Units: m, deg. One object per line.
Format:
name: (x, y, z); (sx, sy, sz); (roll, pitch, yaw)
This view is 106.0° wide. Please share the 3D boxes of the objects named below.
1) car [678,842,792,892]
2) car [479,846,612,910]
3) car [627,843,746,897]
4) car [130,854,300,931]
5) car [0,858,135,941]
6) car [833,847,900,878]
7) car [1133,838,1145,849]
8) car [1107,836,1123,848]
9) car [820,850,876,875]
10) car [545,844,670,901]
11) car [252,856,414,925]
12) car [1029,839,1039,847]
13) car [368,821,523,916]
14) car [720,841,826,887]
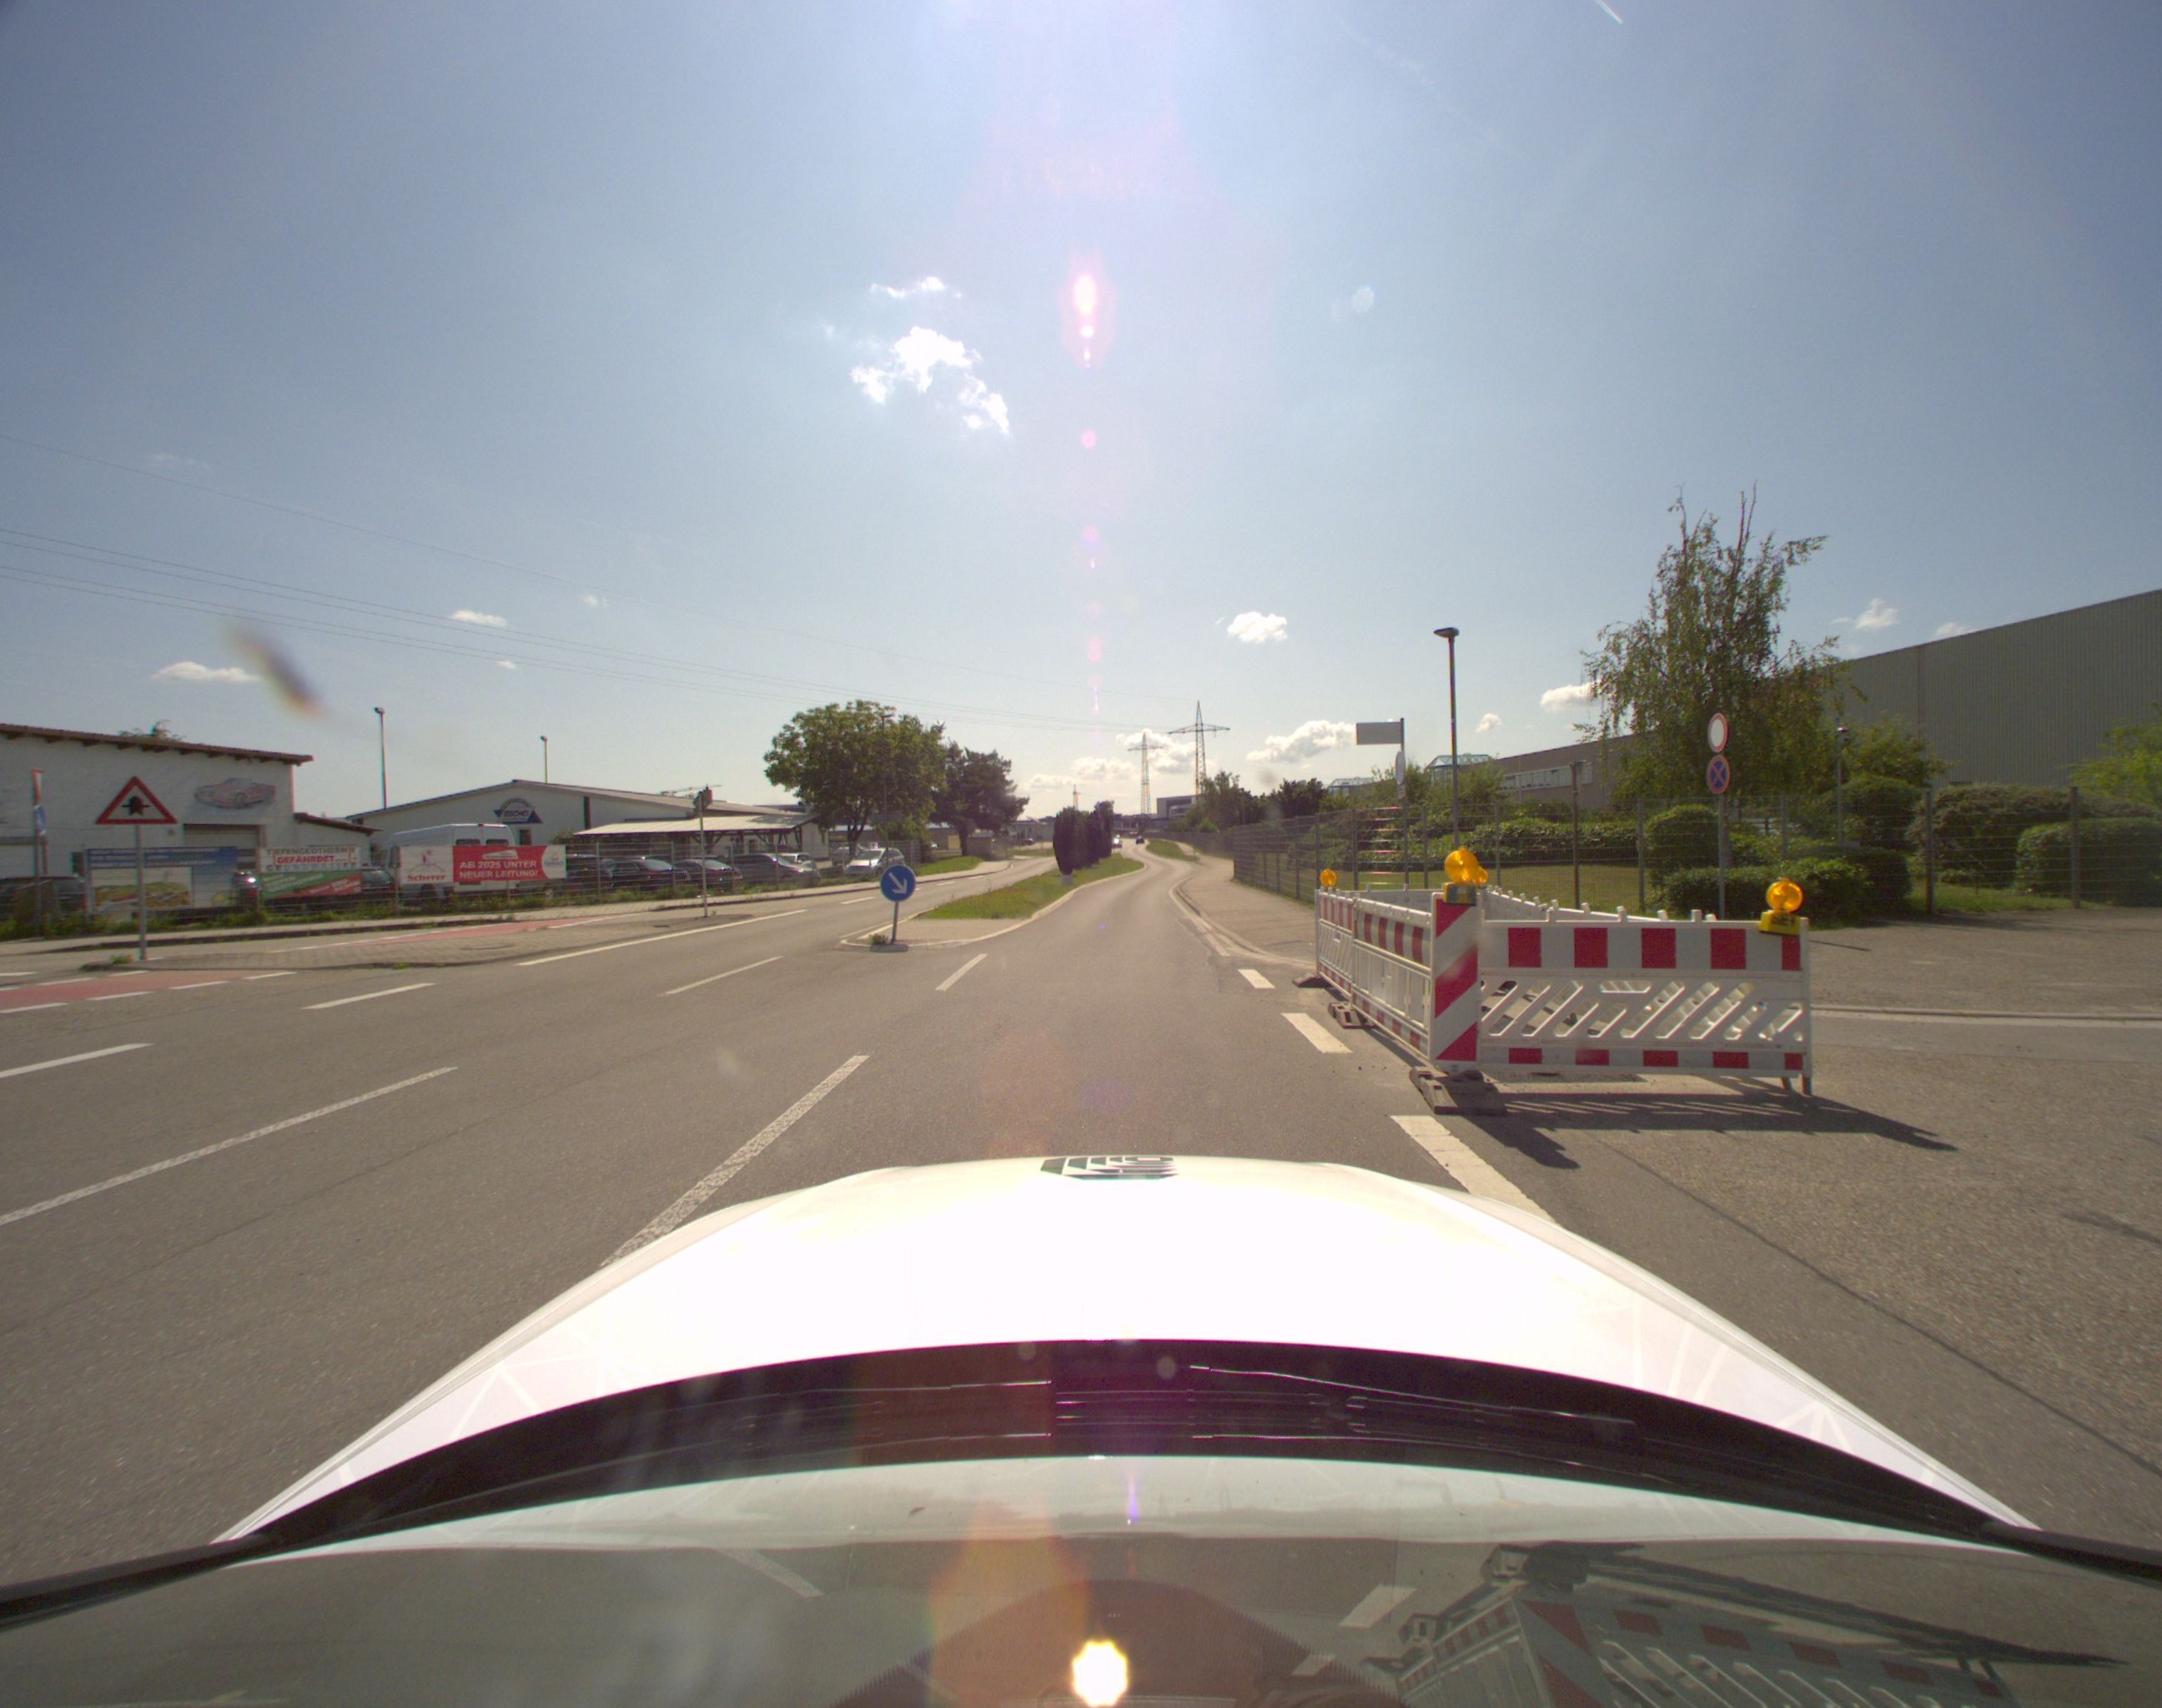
car: (-14.061, 0.502, 33.142); (3.952, 1.903, 2.011); (0, 2, 22)
car: (-17.408, 0.706, 26.449); (3.949, 1.903, 2.013); (0, 2, 31)
car: (-15.033, 0.563, 31.020); (3.950, 1.903, 2.012); (0, 2, 26)
car: (-21.686, 0.880, 20.381); (3.949, 1.679, 2.013); (0, 2, 30)
car: (-23.760, 0.958, 18.630); (3.949, 1.653, 2.013); (0, 2, 30)
car: (-11.165, 0.433, 42.564); (1.815, 1.517, 3.602); (-1, 0, 14)
car: (12.055, -2.192, 170.338); (2.263, 1.947, 4.666); (2, -1, 1)
car: (5.710, -2.088, 137.663); (2.482, 2.013, 4.667); (-1, 2, 1)
car: (-17.962, 0.646, 63.025); (3.989, 1.850, 1.827); (-1, 0, -12)
car: (-16.361, 0.580, 28.145); (3.949, 1.780, 2.013); (0, 2, 31)
car: (-20.353, 0.919, 22.161); (3.949, 1.653, 2.013); (0, 2, 28)
car: (-12.344, -2.926, 213.395); (1.985, 2.013, 4.003); (-1, 0, 2)
car: (-19.010, 0.443, 24.356); (4.310, 2.608, 2.012); (-1, -1, 27)
car: (-13.457, 0.423, 35.654); (3.953, 1.903, 2.011); (0, 2, 20)
